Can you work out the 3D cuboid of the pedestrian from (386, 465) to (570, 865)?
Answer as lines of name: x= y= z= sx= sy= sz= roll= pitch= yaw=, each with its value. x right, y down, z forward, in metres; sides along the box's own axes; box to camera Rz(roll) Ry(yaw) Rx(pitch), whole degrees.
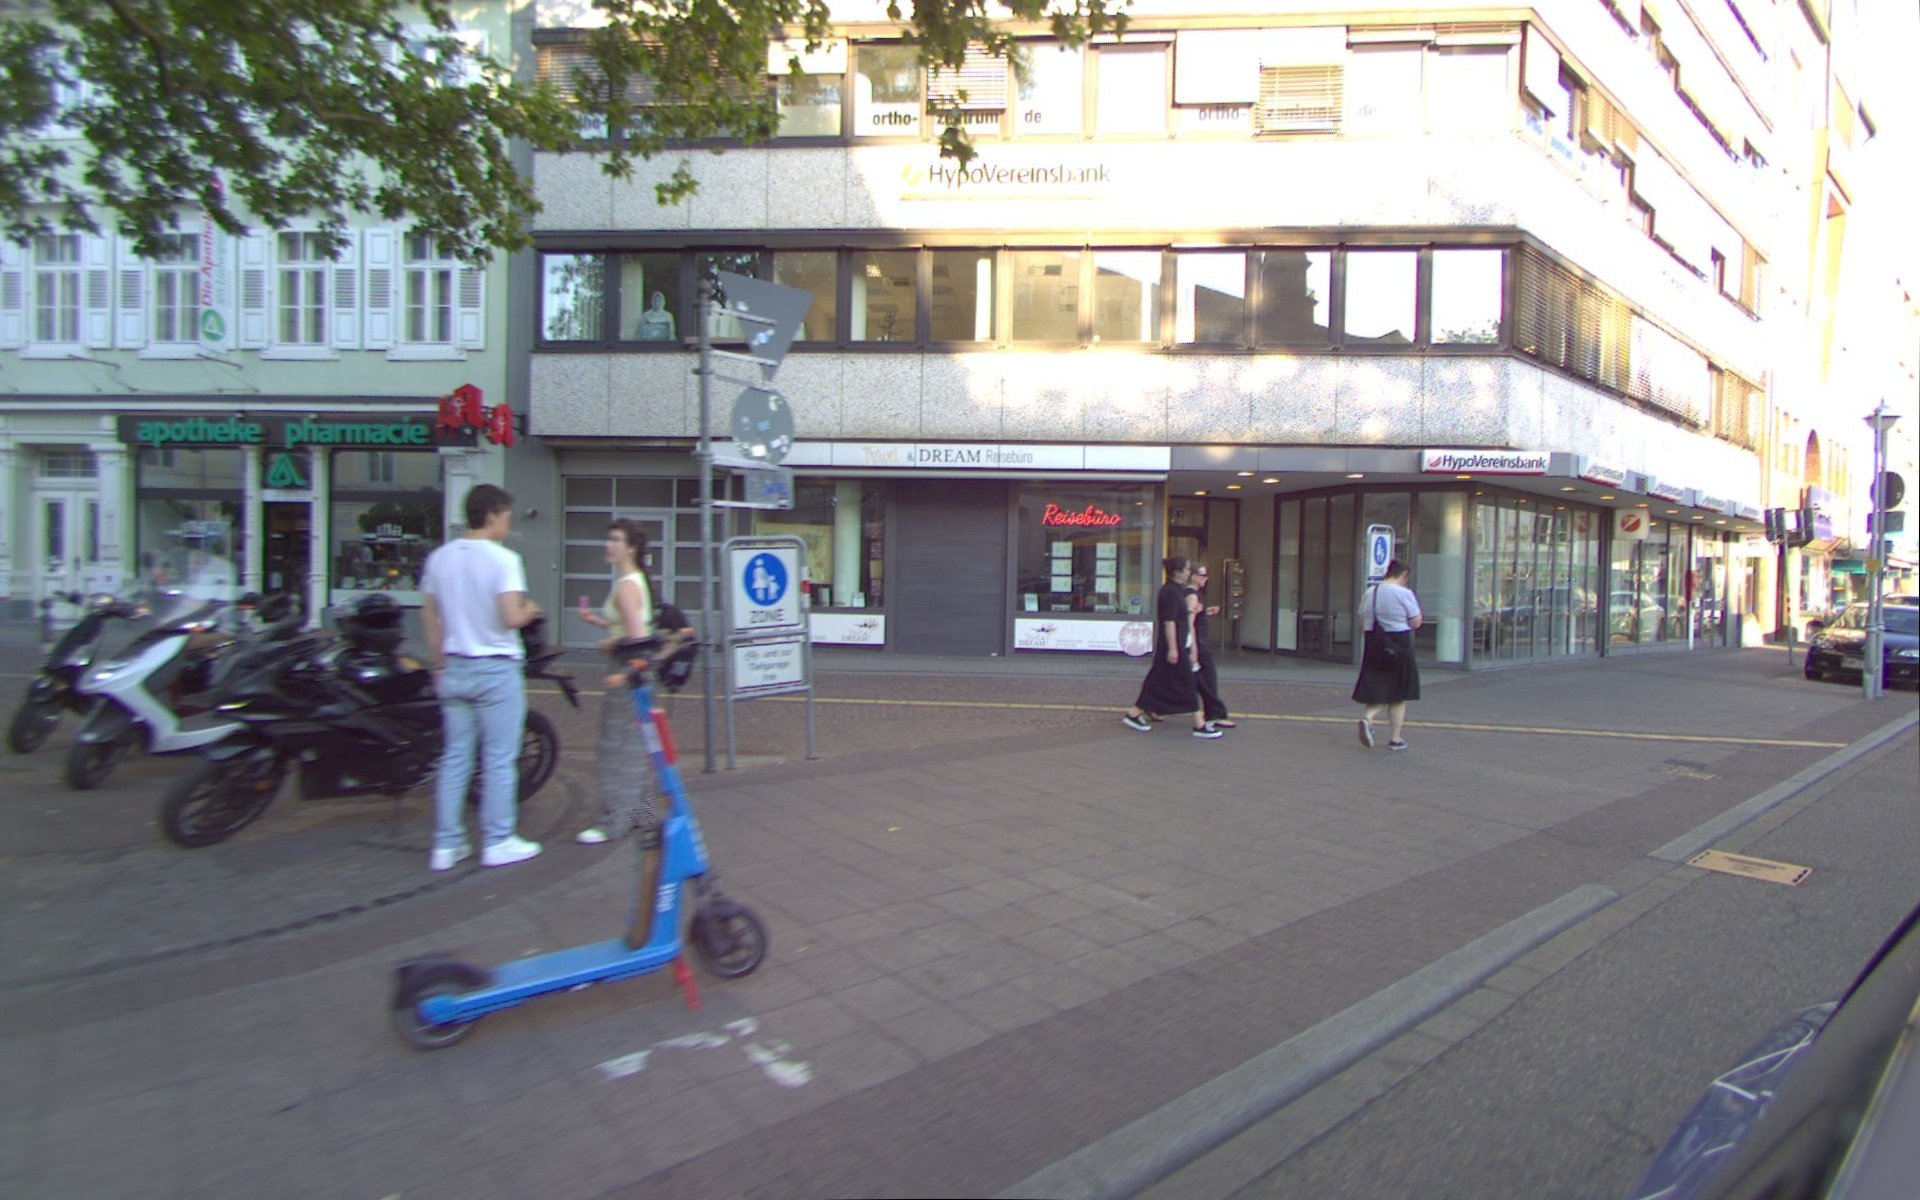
pedestrian: x=-2.304 y=0.267 z=4.836 sx=0.650 sy=1.738 sz=0.615 roll=-2 pitch=3 yaw=-38

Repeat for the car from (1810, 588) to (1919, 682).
car: x=16.814 y=0.569 z=18.141 sx=4.264 sy=1.396 sz=1.659 roll=0 pitch=5 yaw=-41

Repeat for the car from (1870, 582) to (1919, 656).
car: x=22.227 y=0.460 z=22.966 sx=4.497 sy=1.558 sz=1.779 roll=2 pitch=1 yaw=-41

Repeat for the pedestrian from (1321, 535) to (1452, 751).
pedestrian: x=3.810 y=0.352 z=9.046 sx=0.809 sy=1.826 sz=0.716 roll=1 pitch=1 yaw=-38

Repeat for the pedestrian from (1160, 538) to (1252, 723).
pedestrian: x=2.420 y=0.273 z=10.042 sx=0.811 sy=1.745 sz=0.657 roll=1 pitch=2 yaw=12

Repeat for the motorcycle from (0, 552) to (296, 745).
motorcycle: x=-6.266 y=0.309 z=7.796 sx=0.556 sy=1.298 sz=1.942 roll=1 pitch=1 yaw=23

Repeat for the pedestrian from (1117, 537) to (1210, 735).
pedestrian: x=1.875 y=0.303 z=9.359 sx=0.811 sy=1.762 sz=0.657 roll=0 pitch=2 yaw=12

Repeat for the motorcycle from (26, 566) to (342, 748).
motorcycle: x=-5.583 y=0.376 z=7.426 sx=0.546 sy=1.165 sz=1.783 roll=1 pitch=-1 yaw=23

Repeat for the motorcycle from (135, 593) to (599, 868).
motorcycle: x=-2.922 y=0.559 z=5.175 sx=1.995 sy=1.172 sz=0.456 roll=0 pitch=1 yaw=-41

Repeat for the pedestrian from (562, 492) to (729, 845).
pedestrian: x=-1.689 y=0.318 z=5.427 sx=0.643 sy=1.738 sz=0.680 roll=-2 pitch=3 yaw=-38

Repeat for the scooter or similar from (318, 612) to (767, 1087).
scooter or similar: x=-1.256 y=0.669 z=3.151 sx=1.247 sy=1.236 sz=0.316 roll=0 pitch=2 yaw=-34

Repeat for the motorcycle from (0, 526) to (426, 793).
motorcycle: x=-4.707 y=0.329 z=6.623 sx=0.559 sy=1.441 sz=2.278 roll=1 pitch=-1 yaw=23

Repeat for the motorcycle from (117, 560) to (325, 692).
motorcycle: x=-7.936 y=0.237 z=10.994 sx=0.554 sy=1.298 sz=1.950 roll=1 pitch=1 yaw=12
